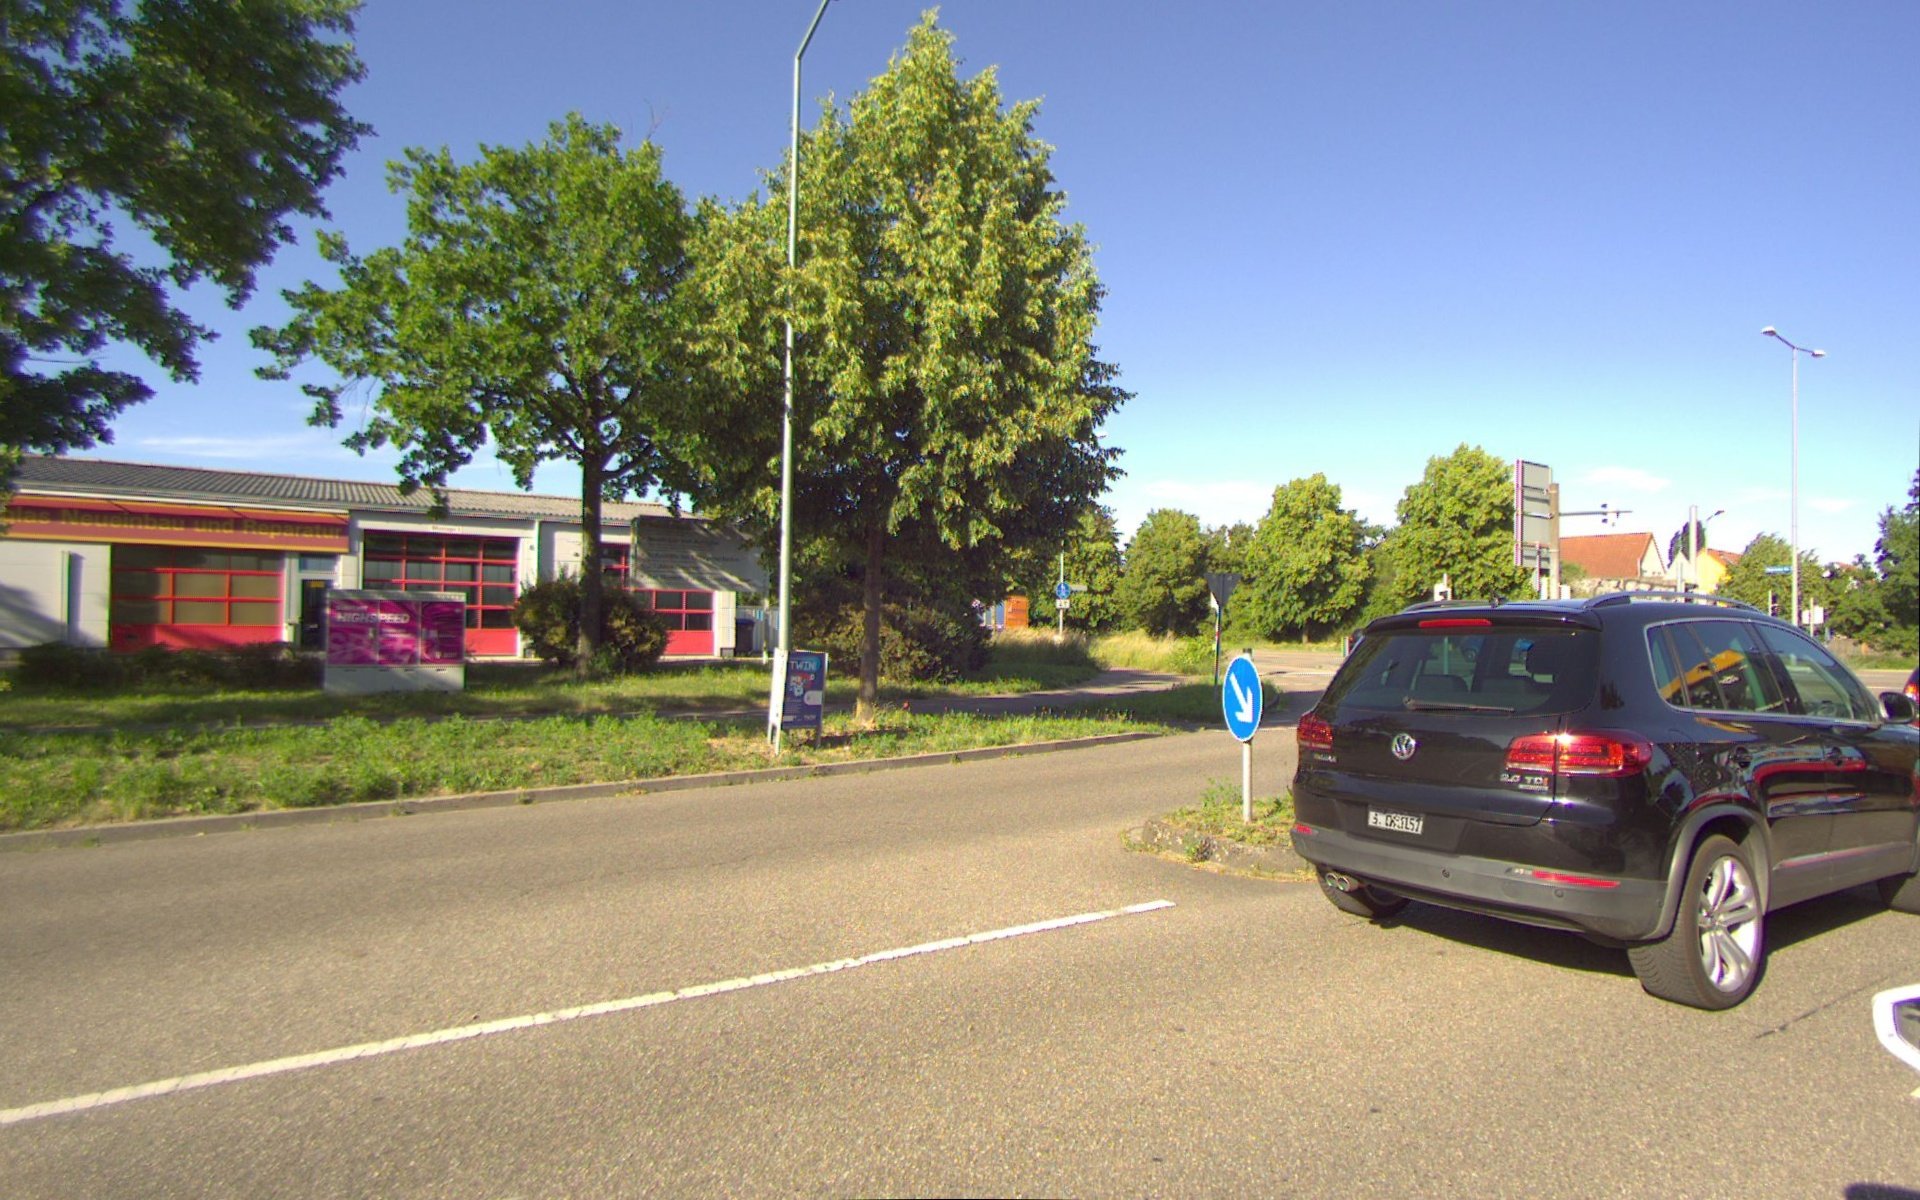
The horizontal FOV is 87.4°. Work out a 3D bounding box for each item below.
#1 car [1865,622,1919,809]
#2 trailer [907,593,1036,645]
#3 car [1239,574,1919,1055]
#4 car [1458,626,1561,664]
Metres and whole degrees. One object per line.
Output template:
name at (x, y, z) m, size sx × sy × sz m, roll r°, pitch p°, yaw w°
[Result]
car at (10.224, 1.012, 9.212) m, size 3.954 × 1.610 × 1.753 m, roll 1°, pitch -3°, yaw -31°
trailer at (0.727, 1.602, 92.136) m, size 3.408 × 4.241 × 15.204 m, roll 2°, pitch 0°, yaw -36°
car at (3.547, 0.826, 5.310) m, size 3.954 × 1.675 × 1.763 m, roll 1°, pitch -3°, yaw -31°
car at (23.748, 1.912, 43.494) m, size 1.733 × 1.581 × 3.559 m, roll 2°, pitch -2°, yaw -35°
